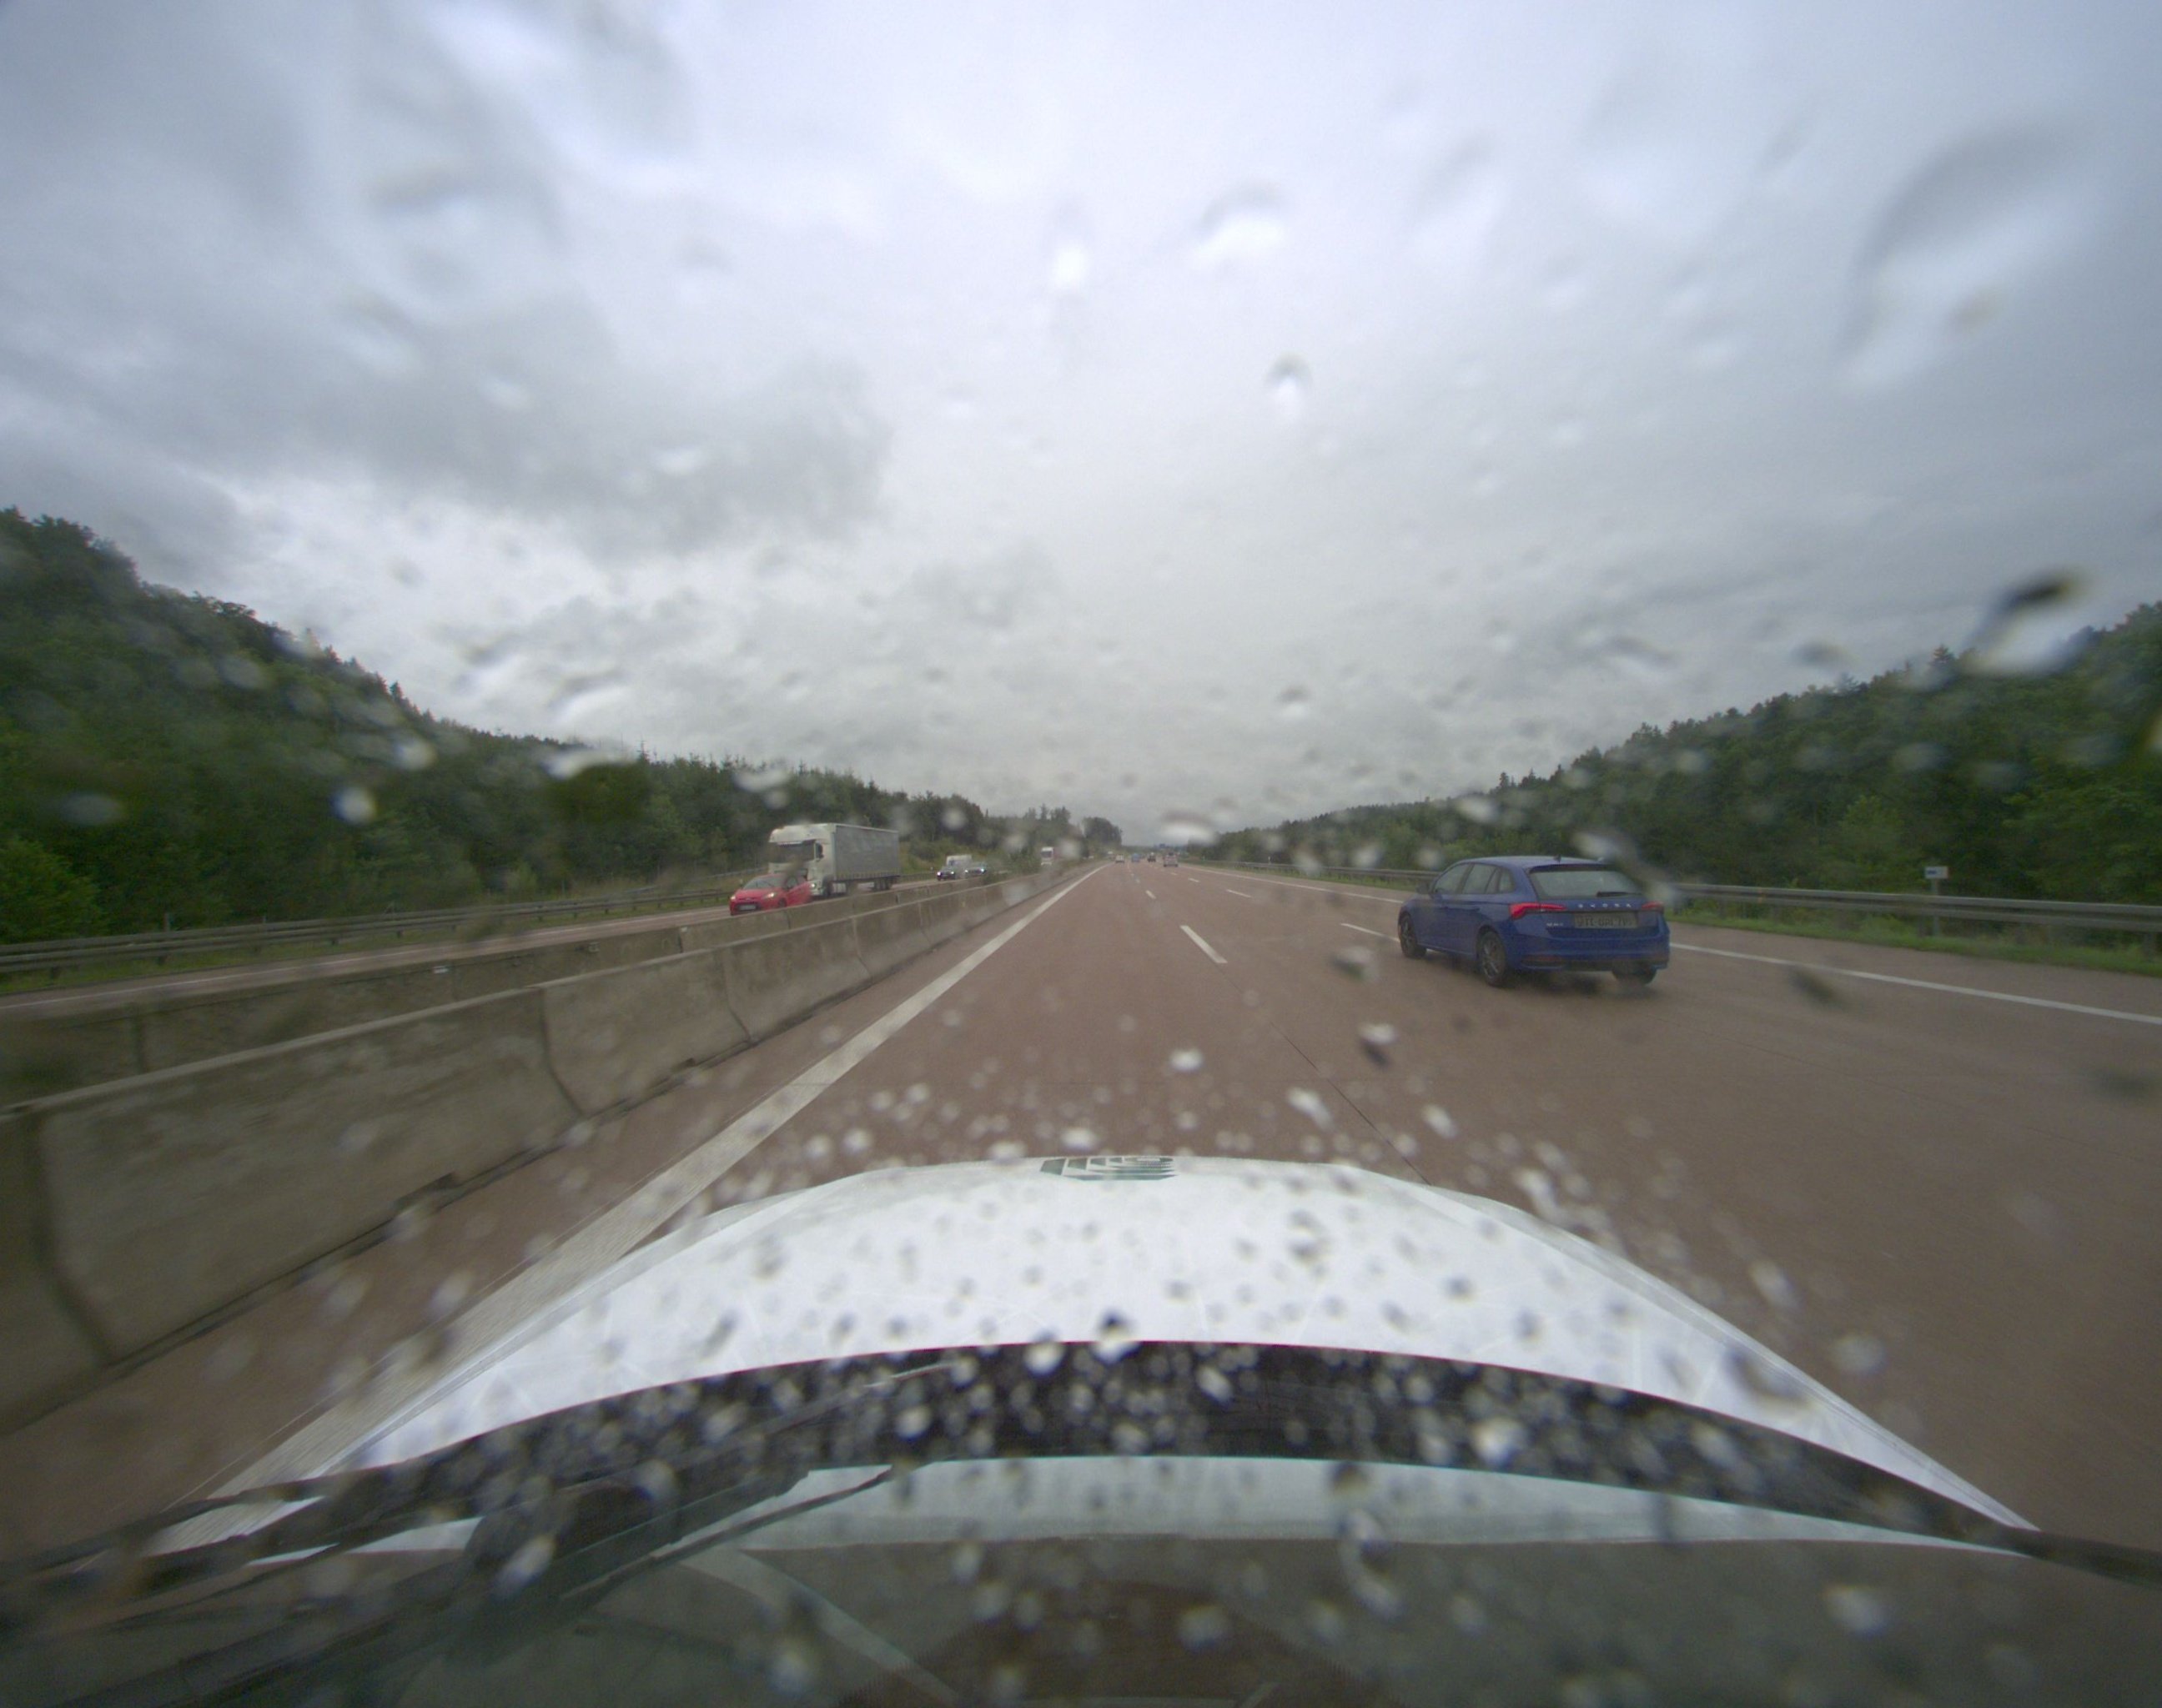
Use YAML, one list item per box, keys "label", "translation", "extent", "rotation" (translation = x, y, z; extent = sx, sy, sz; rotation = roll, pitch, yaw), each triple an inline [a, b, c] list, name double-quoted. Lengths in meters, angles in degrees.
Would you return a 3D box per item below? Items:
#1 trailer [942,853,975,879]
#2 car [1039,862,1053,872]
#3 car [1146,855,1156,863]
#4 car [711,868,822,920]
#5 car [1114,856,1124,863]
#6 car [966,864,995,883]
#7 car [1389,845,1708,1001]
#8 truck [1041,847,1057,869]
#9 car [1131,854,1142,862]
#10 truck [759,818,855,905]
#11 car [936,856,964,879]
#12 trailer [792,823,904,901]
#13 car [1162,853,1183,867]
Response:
- label: "trailer"
  translation: [-12.689, 1.181, 84.547]
  extent: [2.268, 2.411, 5.440]
  rotation: [-4, 0, 2]
- label: "car"
  translation: [-5.846, 2.179, 137.850]
  extent: [1.856, 1.666, 4.713]
  rotation: [0, -1, 4]
- label: "car"
  translation: [16.887, 1.219, 196.057]
  extent: [1.987, 2.014, 3.999]
  rotation: [0, -1, 0]
- label: "car"
  translation: [-10.697, 1.332, 28.074]
  extent: [1.986, 1.545, 4.281]
  rotation: [-3, -1, 2]
- label: "car"
  translation: [8.175, 1.263, 174.512]
  extent: [1.867, 1.444, 4.877]
  rotation: [0, -1, 1]
- label: "car"
  translation: [-9.082, 1.718, 74.008]
  extent: [1.685, 1.557, 5.680]
  rotation: [-3, 0, 2]
- label: "car"
  translation: [5.490, 0.741, 10.282]
  extent: [1.764, 1.564, 4.148]
  rotation: [0, -1, 2]
- label: "truck"
  translation: [-6.860, 0.880, 174.607]
  extent: [2.938, 4.478, 6.796]
  rotation: [0, -1, 3]
- label: "car"
  translation: [12.579, 0.896, 184.616]
  extent: [2.315, 1.750, 4.876]
  rotation: [0, -1, 0]
- label: "truck"
  translation: [-14.451, 0.425, 43.503]
  extent: [2.758, 4.176, 6.003]
  rotation: [-3, -1, 2]
- label: "car"
  translation: [-12.751, 1.289, 79.614]
  extent: [1.752, 2.153, 4.429]
  rotation: [-3, 0, 1]
- label: "trailer"
  translation: [-14.161, 0.572, 50.998]
  extent: [2.729, 4.140, 12.760]
  rotation: [-3, -1, 2]
- label: "car"
  translation: [12.373, 0.801, 110.371]
  extent: [2.315, 1.750, 4.876]
  rotation: [0, -1, 0]
